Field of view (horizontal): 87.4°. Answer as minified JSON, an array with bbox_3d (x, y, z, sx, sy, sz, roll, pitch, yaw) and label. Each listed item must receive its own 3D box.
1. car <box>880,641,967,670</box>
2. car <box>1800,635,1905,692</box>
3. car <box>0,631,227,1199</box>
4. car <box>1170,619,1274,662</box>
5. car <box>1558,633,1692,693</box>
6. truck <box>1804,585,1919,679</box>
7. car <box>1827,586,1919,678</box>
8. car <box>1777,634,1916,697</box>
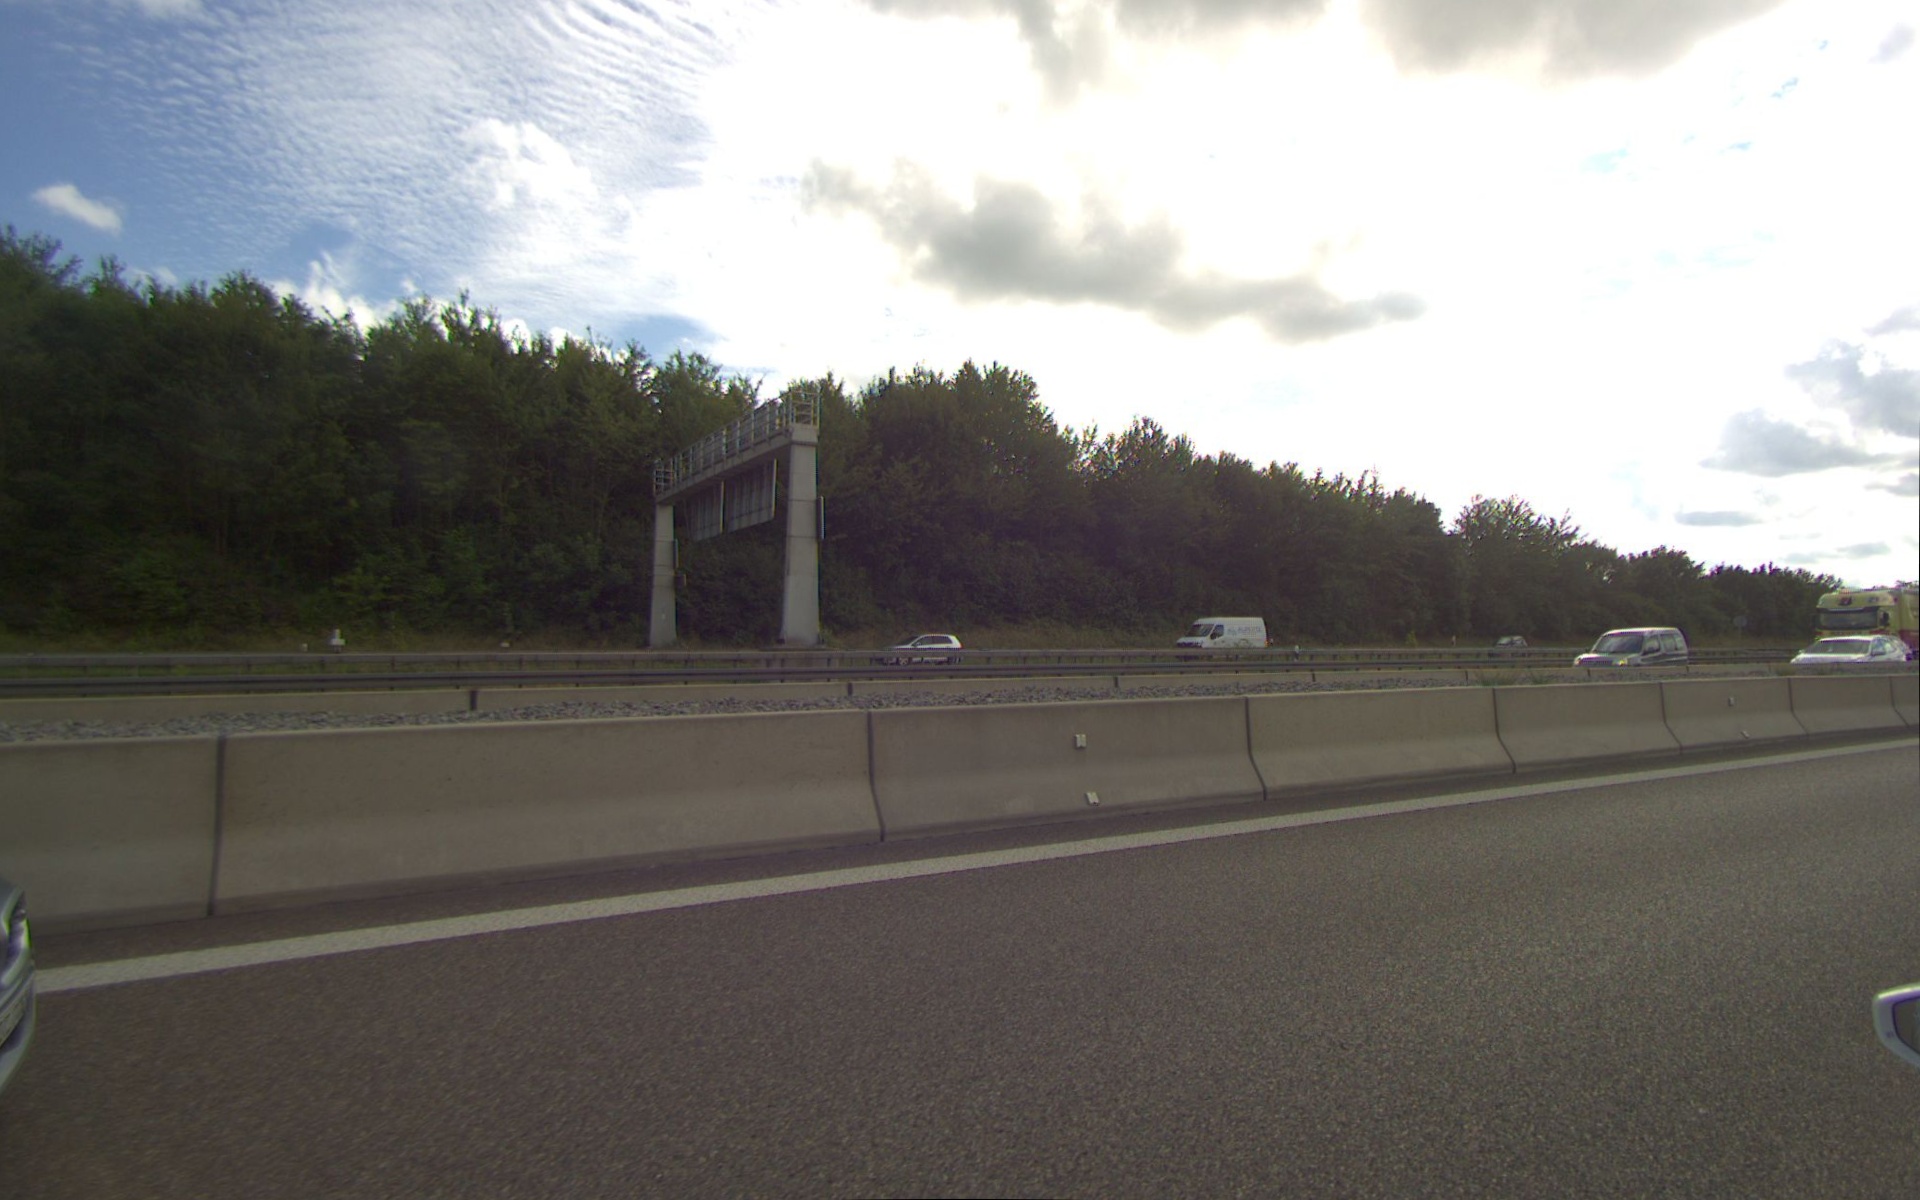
[{"bbox_3d":[-1.633,2.502,45.514,3.717,1.234,1.458,2,-2,-31],"label":"car"},{"bbox_3d":[34.593,2.438,38.916,4.501,2.040,1.744,2,0,-31],"label":"car"},{"bbox_3d":[-4.214,0.707,1.457,4.885,1.320,1.864,2,-1,-31],"label":"car"},{"bbox_3d":[14.443,2.202,55.172,5.819,2.264,1.985,1,-2,-30],"label":"car"},{"bbox_3d":[19.731,1.827,29.748,4.412,1.632,1.586,2,-1,-31],"label":"car"},{"bbox_3d":[44.364,1.588,49.383,5.101,4.380,2.883,2,-2,-30],"label":"truck"},{"bbox_3d":[50.454,1.722,53.027,13.982,4.382,2.891,2,-2,-31],"label":"car"},{"bbox_3d":[25.141,1.812,28.469,4.132,1.593,1.767,2,0,-31],"label":"car"}]
